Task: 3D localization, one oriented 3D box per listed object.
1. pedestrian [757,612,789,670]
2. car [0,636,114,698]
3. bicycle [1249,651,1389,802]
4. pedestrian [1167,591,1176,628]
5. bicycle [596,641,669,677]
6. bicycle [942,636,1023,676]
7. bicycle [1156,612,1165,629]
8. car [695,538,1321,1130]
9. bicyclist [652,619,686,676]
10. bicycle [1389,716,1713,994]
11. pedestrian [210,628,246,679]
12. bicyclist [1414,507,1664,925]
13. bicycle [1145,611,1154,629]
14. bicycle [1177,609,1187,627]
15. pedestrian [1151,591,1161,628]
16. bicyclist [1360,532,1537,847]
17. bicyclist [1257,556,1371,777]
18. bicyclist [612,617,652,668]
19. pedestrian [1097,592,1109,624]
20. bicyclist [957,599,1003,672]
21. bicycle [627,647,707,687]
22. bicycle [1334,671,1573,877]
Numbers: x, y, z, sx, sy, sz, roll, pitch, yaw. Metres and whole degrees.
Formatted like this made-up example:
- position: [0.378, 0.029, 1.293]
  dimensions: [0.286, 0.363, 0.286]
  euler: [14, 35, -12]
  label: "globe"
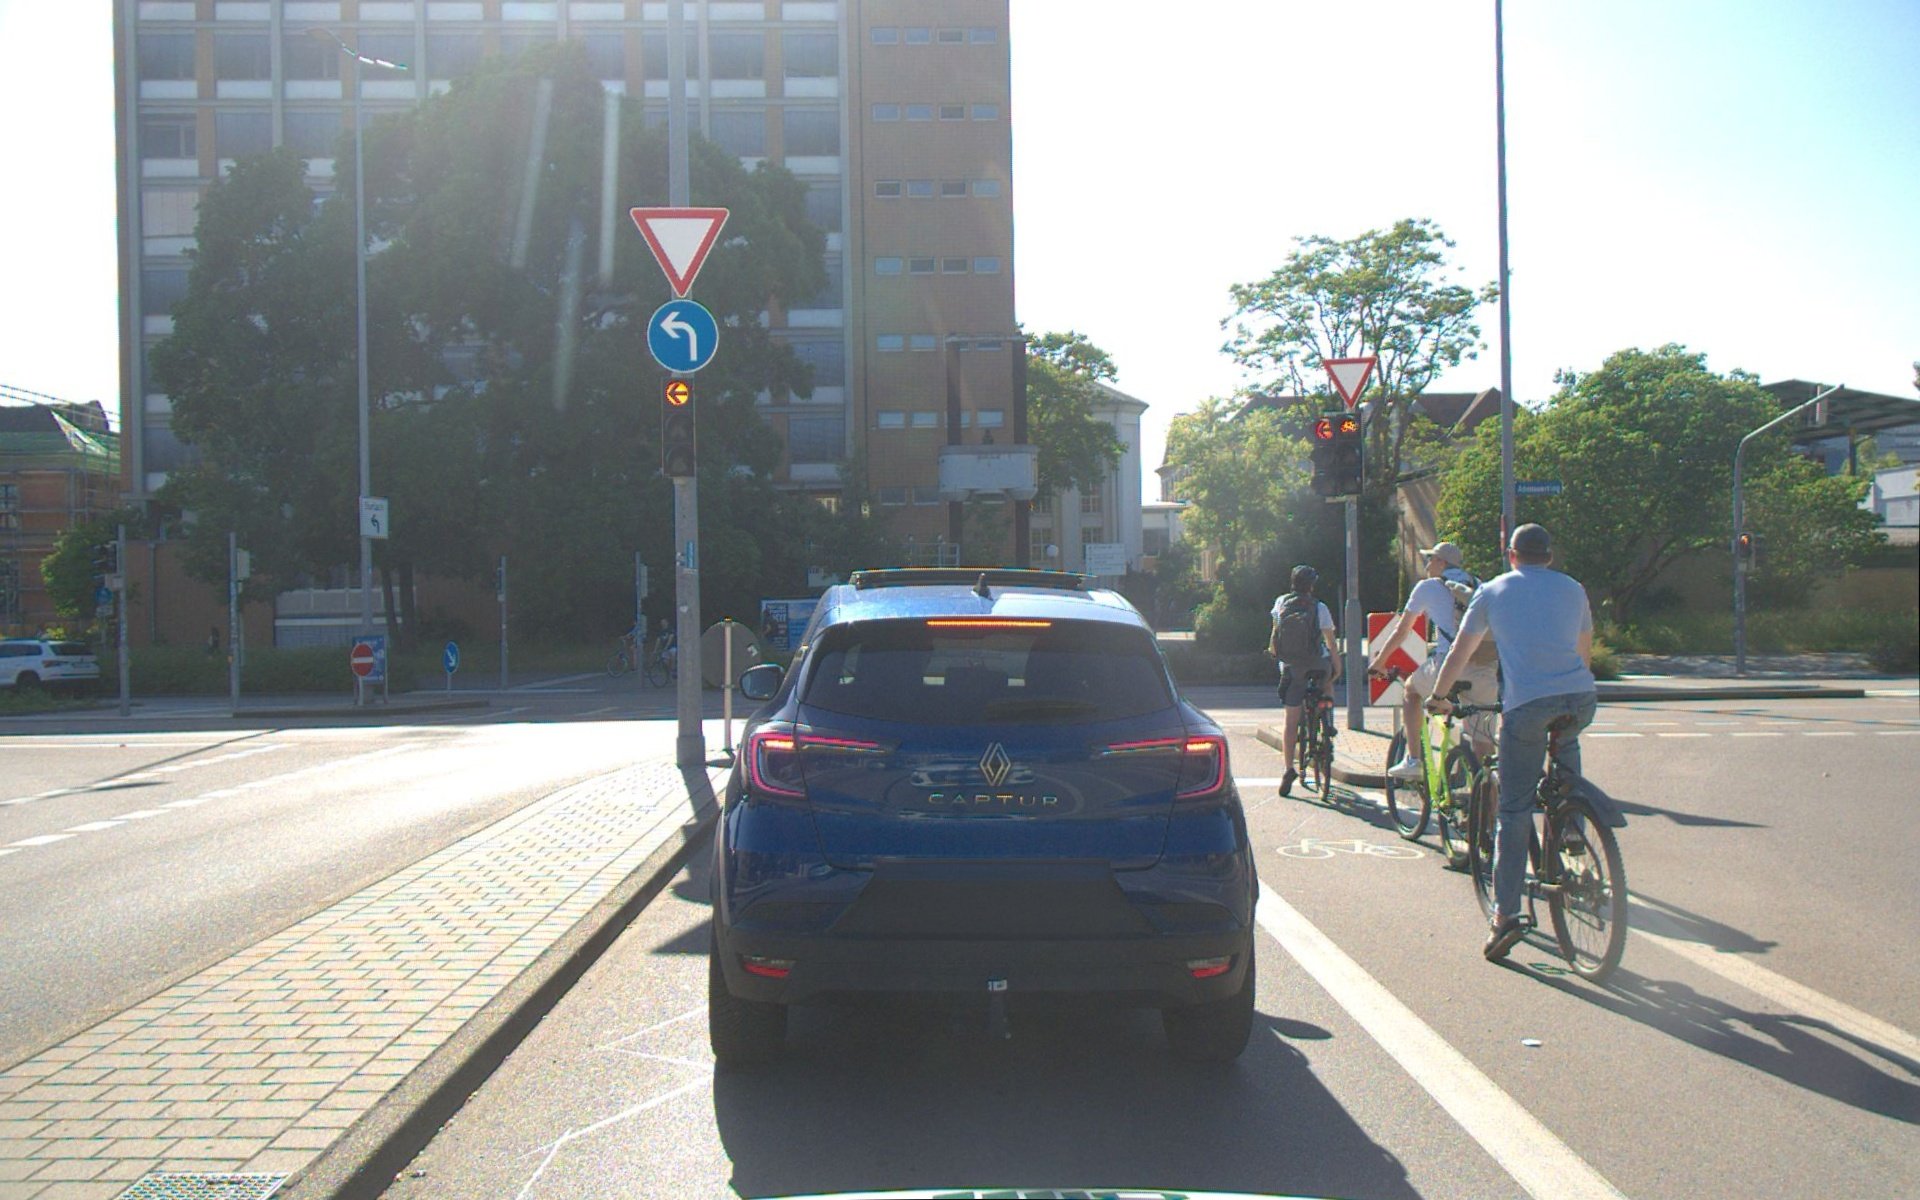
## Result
- position: [-5.346, 1.174, 47.349]
  dimensions: [0.721, 1.631, 0.599]
  euler: [-1, 0, 12]
  label: "pedestrian"
- position: [-26.267, 1.862, 46.218]
  dimensions: [4.722, 1.660, 1.845]
  euler: [-1, 0, 17]
  label: "car"
- position: [2.762, 0.936, 12.927]
  dimensions: [0.723, 1.012, 2.174]
  euler: [1, 0, 3]
  label: "bicycle"
- position: [11.830, 0.540, 92.565]
  dimensions: [0.465, 2.049, 0.468]
  euler: [-1, 0, 5]
  label: "pedestrian"
- position: [-9.376, 1.693, 47.361]
  dimensions: [2.033, 0.981, 0.598]
  euler: [-1, 0, 20]
  label: "bicycle"
- position: [0.593, 1.480, 43.783]
  dimensions: [2.037, 0.946, 0.697]
  euler: [-2, 1, 11]
  label: "bicycle"
- position: [11.407, 1.156, 94.191]
  dimensions: [0.397, 0.990, 1.684]
  euler: [1, 0, 3]
  label: "bicycle"
- position: [0.062, 0.667, 6.685]
  dimensions: [1.767, 1.660, 3.998]
  euler: [1, 0, -3]
  label: "car"
- position: [-7.670, 1.241, 43.649]
  dimensions: [0.728, 1.466, 0.593]
  euler: [-1, 0, -27]
  label: "bicyclist"
- position: [2.503, 1.038, 7.277]
  dimensions: [0.725, 0.911, 1.978]
  euler: [1, 0, 0]
  label: "bicycle"
- position: [-23.677, 1.730, 53.494]
  dimensions: [0.842, 1.598, 0.559]
  euler: [-4, 0, 20]
  label: "pedestrian"
- position: [2.509, 0.475, 7.274]
  dimensions: [0.736, 1.698, 1.016]
  euler: [1, 0, 0]
  label: "bicyclist"
- position: [10.797, 1.146, 94.226]
  dimensions: [0.397, 0.990, 1.684]
  euler: [1, 0, 3]
  label: "bicycle"
- position: [12.683, 1.033, 94.592]
  dimensions: [0.397, 0.990, 1.684]
  euler: [1, 0, 3]
  label: "bicycle"
- position: [10.799, 0.517, 91.198]
  dimensions: [0.465, 2.049, 0.523]
  euler: [-1, 0, 5]
  label: "pedestrian"
- position: [2.883, 0.509, 9.844]
  dimensions: [0.633, 1.769, 1.065]
  euler: [1, 0, -6]
  label: "bicyclist"
- position: [2.760, 0.501, 12.978]
  dimensions: [0.711, 1.657, 0.969]
  euler: [1, 0, 3]
  label: "bicyclist"
- position: [-9.385, 1.218, 47.364]
  dimensions: [0.917, 1.454, 0.598]
  euler: [-1, 0, 20]
  label: "bicyclist"
- position: [8.529, 0.459, 98.458]
  dimensions: [0.611, 1.888, 0.563]
  euler: [-1, 0, 0]
  label: "pedestrian"
- position: [0.535, 0.942, 43.807]
  dimensions: [1.078, 1.900, 0.653]
  euler: [-1, 0, 10]
  label: "bicyclist"
- position: [-7.718, 1.764, 43.622]
  dimensions: [1.982, 0.981, 0.593]
  euler: [-1, 0, -28]
  label: "bicycle"
- position: [2.871, 0.977, 9.848]
  dimensions: [0.646, 1.020, 1.967]
  euler: [1, 0, -6]
  label: "bicycle"
